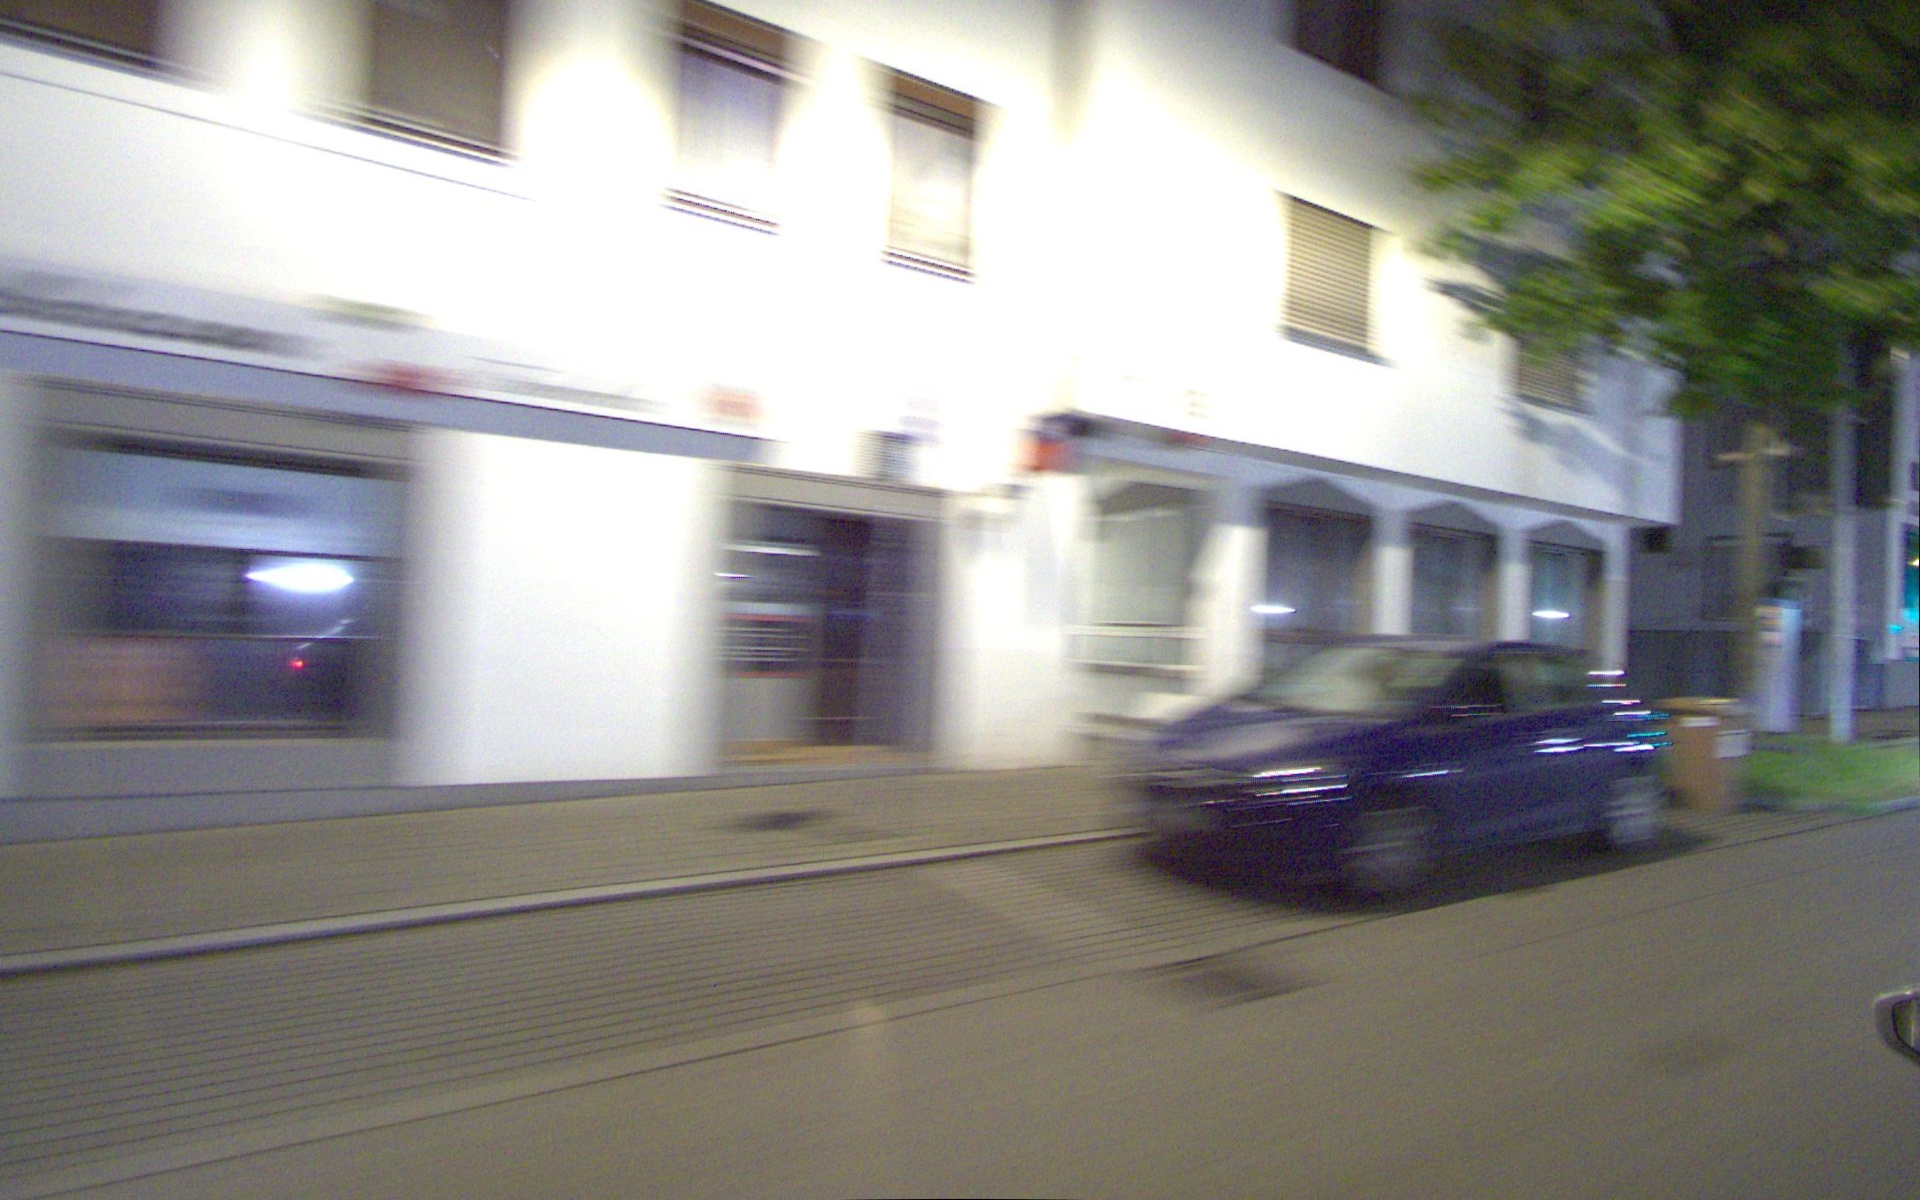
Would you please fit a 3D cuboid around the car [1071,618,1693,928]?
[{"bbox_3d":[2.977,0.927,6.836,4.242,1.506,1.718,2,0,-31],"label":"car"}]
